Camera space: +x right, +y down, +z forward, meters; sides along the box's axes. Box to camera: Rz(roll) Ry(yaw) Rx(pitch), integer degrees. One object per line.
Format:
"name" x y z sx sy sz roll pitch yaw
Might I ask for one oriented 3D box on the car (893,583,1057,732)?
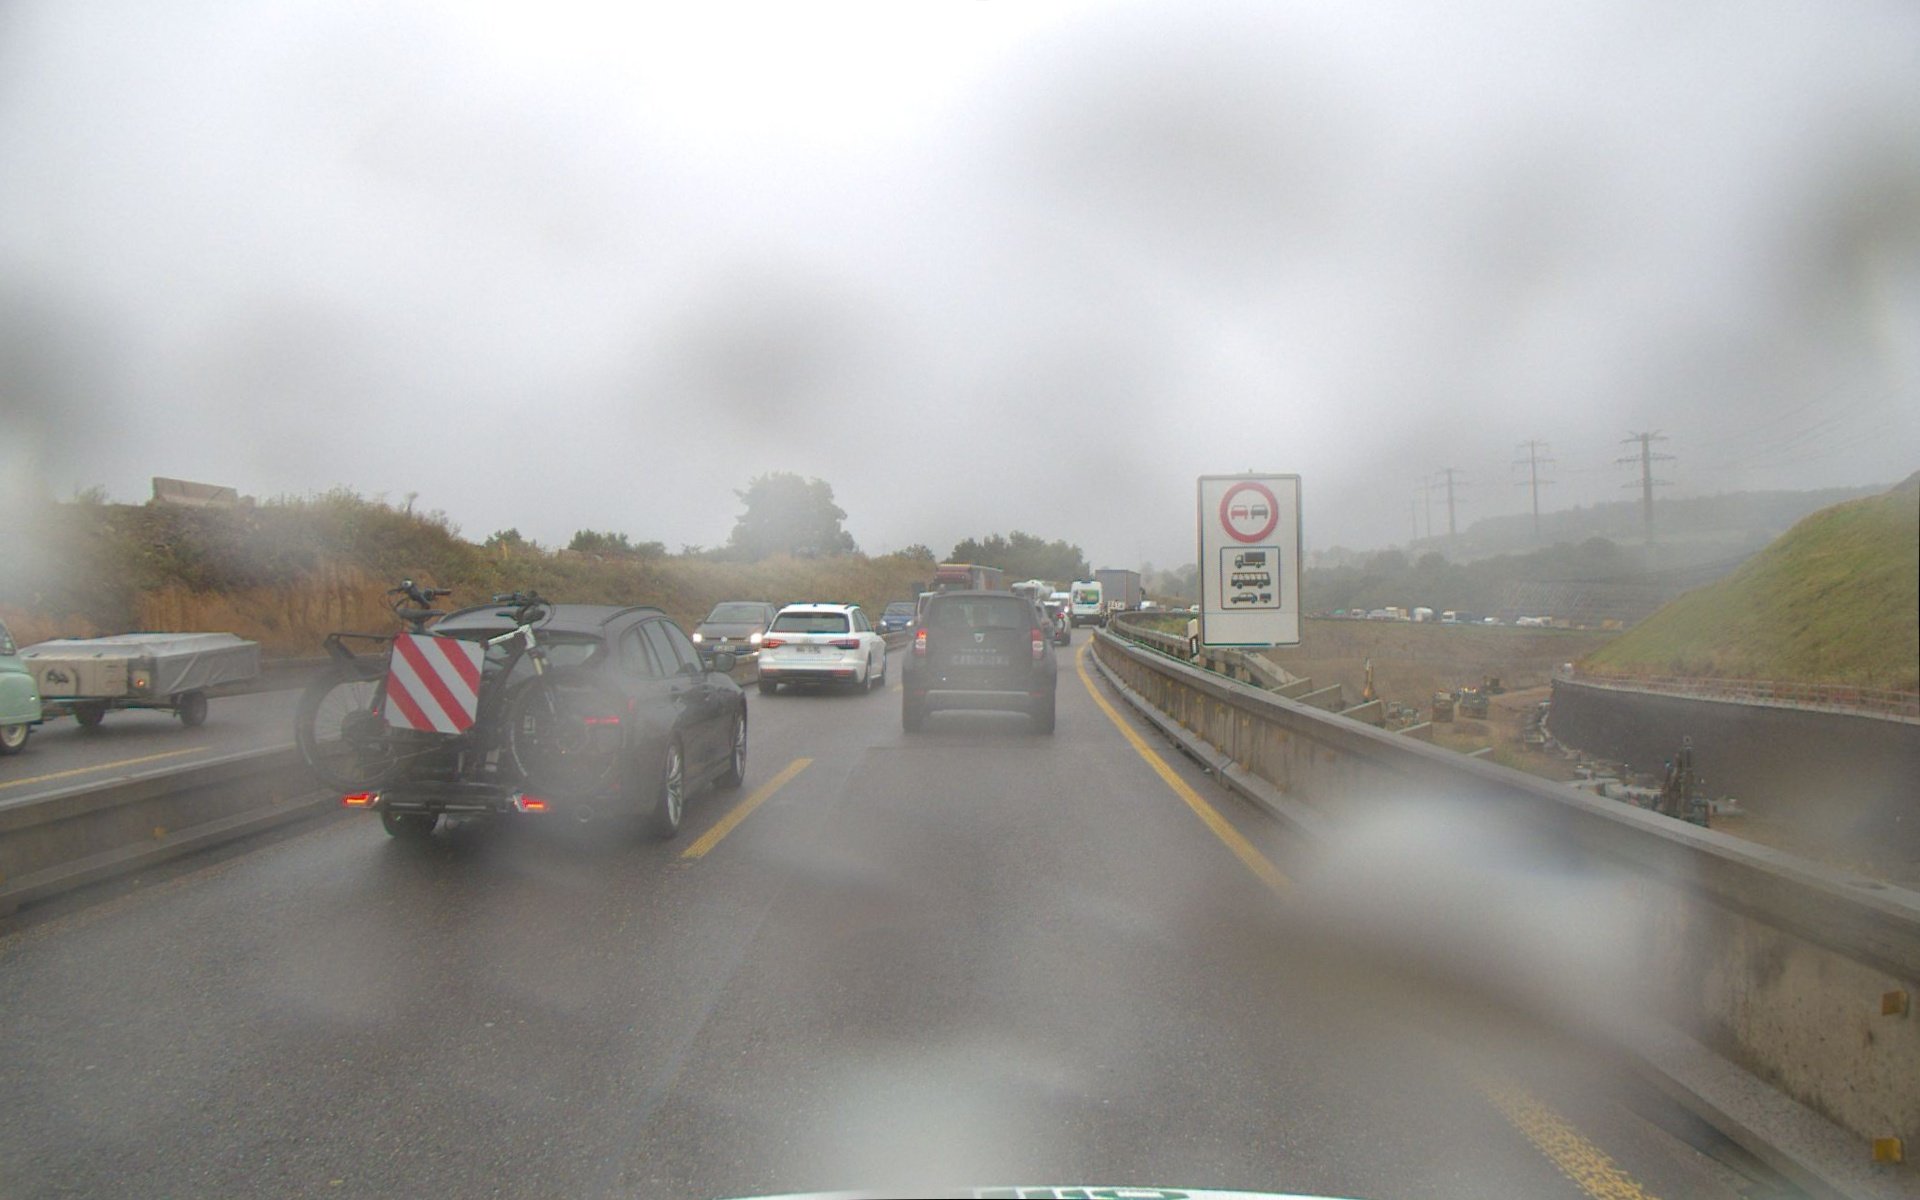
"car" 0.198 0.653 20.211 1.789 1.619 4.000 1 -1 1

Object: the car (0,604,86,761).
"car" -9.433 0.742 14.270 1.547 1.407 4.001 0 0 2

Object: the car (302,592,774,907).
"car" -2.491 0.757 11.331 1.699 1.488 5.630 0 2 1

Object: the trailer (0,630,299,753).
"trailer" -9.259 0.943 18.663 1.547 1.107 4.714 0 0 2

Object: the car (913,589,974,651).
"car" -0.475 0.636 52.419 1.788 1.847 4.000 1 -1 1

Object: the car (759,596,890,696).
"car" -2.173 0.736 27.473 1.789 1.525 4.000 1 -1 1

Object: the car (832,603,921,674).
"car" -1.879 0.872 38.375 1.789 1.525 4.000 1 -1 1

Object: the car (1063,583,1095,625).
"car" 7.314 0.253 101.581 1.787 2.480 4.160 0 -1 7

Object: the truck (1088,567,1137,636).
"truck" 11.974 0.171 129.101 3.468 5.166 10.448 0 -1 7

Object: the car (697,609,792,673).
"car" -4.981 0.918 38.665 1.547 1.407 4.001 0 0 2

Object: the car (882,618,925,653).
"car" -2.400 1.501 70.924 1.547 1.407 4.001 0 0 2

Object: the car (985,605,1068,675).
"car" 1.494 0.907 38.268 1.789 1.525 4.000 1 -1 1

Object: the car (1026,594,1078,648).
"car" 3.267 0.762 59.481 1.788 1.847 4.001 1 -1 2
